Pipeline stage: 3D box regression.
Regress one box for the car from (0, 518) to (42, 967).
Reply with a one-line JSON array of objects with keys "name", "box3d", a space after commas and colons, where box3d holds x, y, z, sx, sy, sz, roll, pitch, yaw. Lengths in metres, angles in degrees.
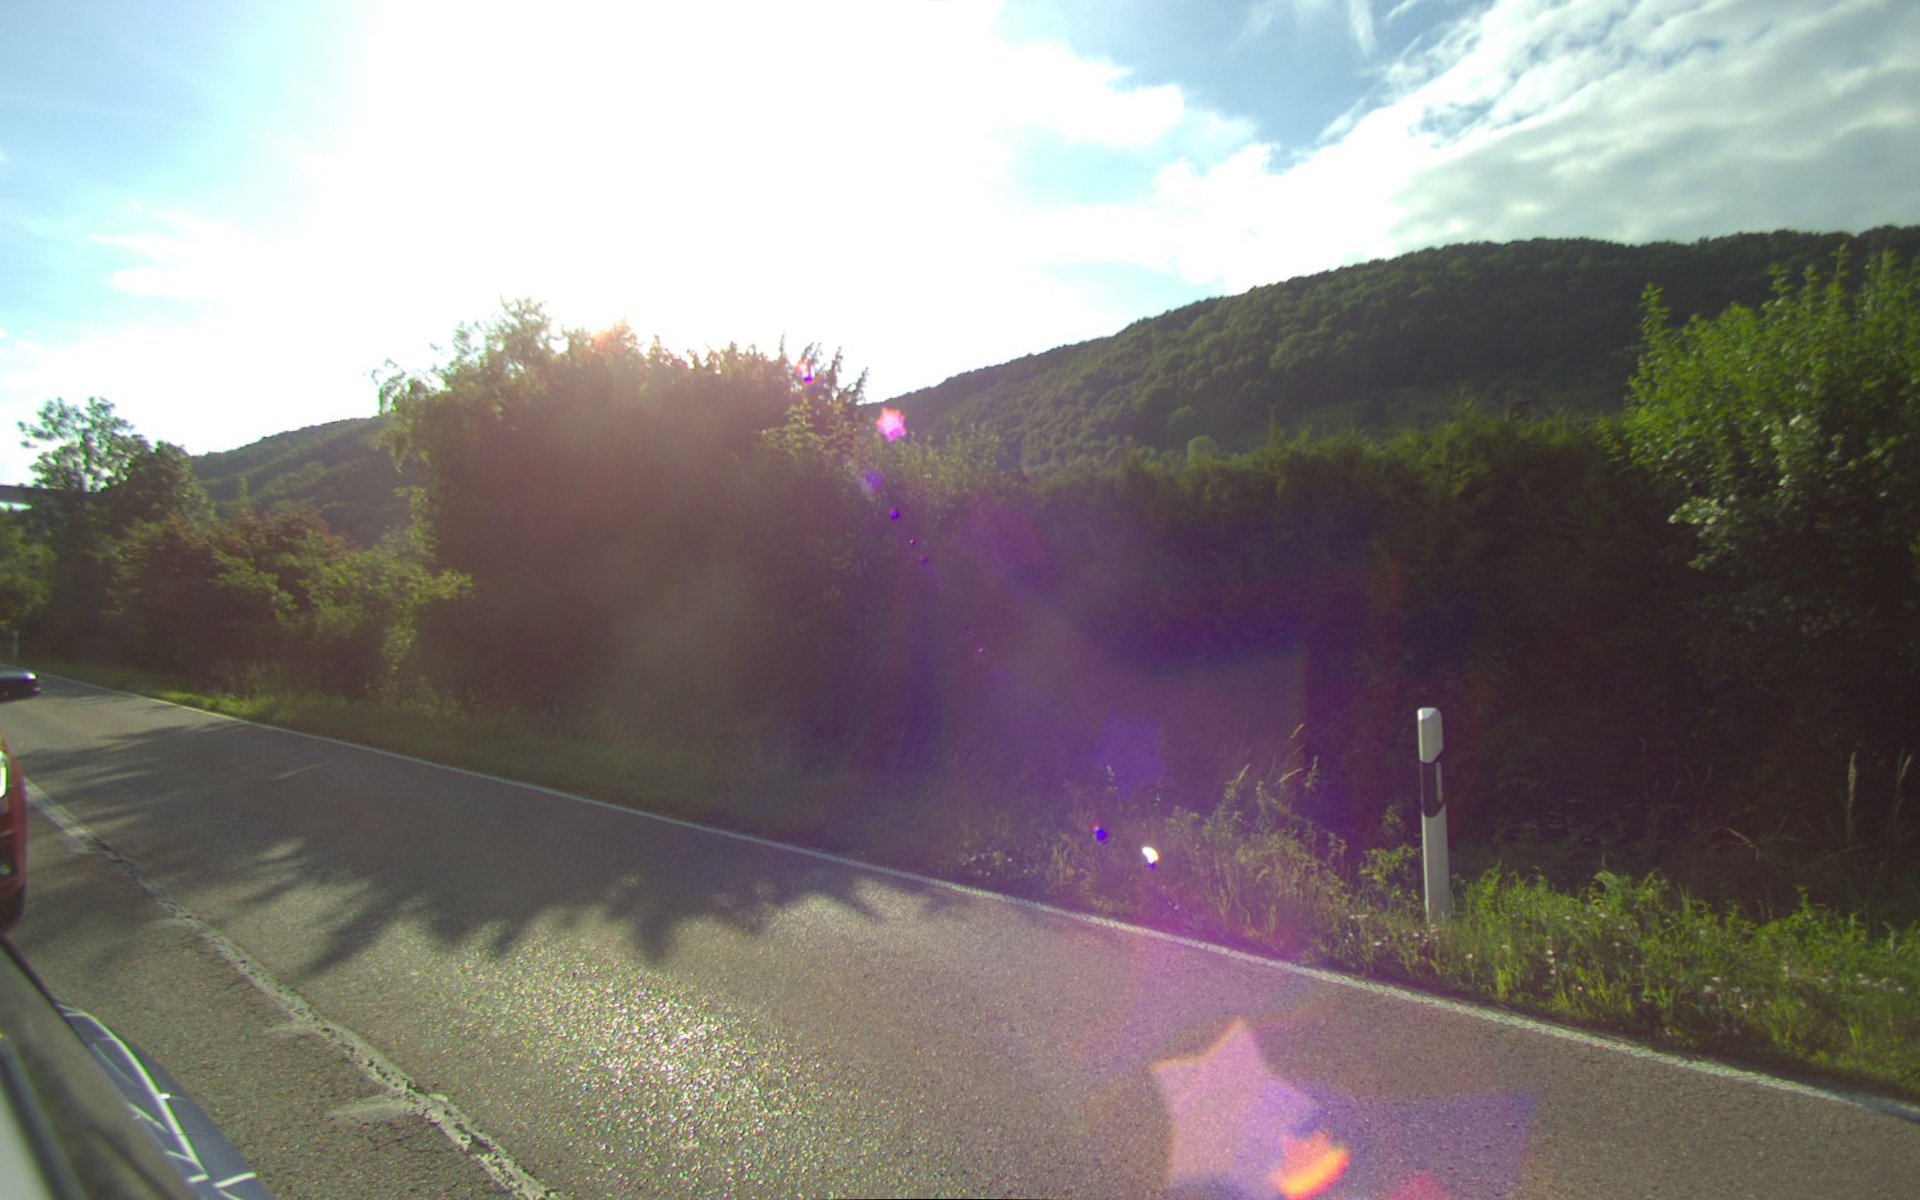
[{"name": "car", "box3d": [-6.004, 0.625, 4.958, 4.286, 1.823, 1.731, -1, 1, 41]}]
